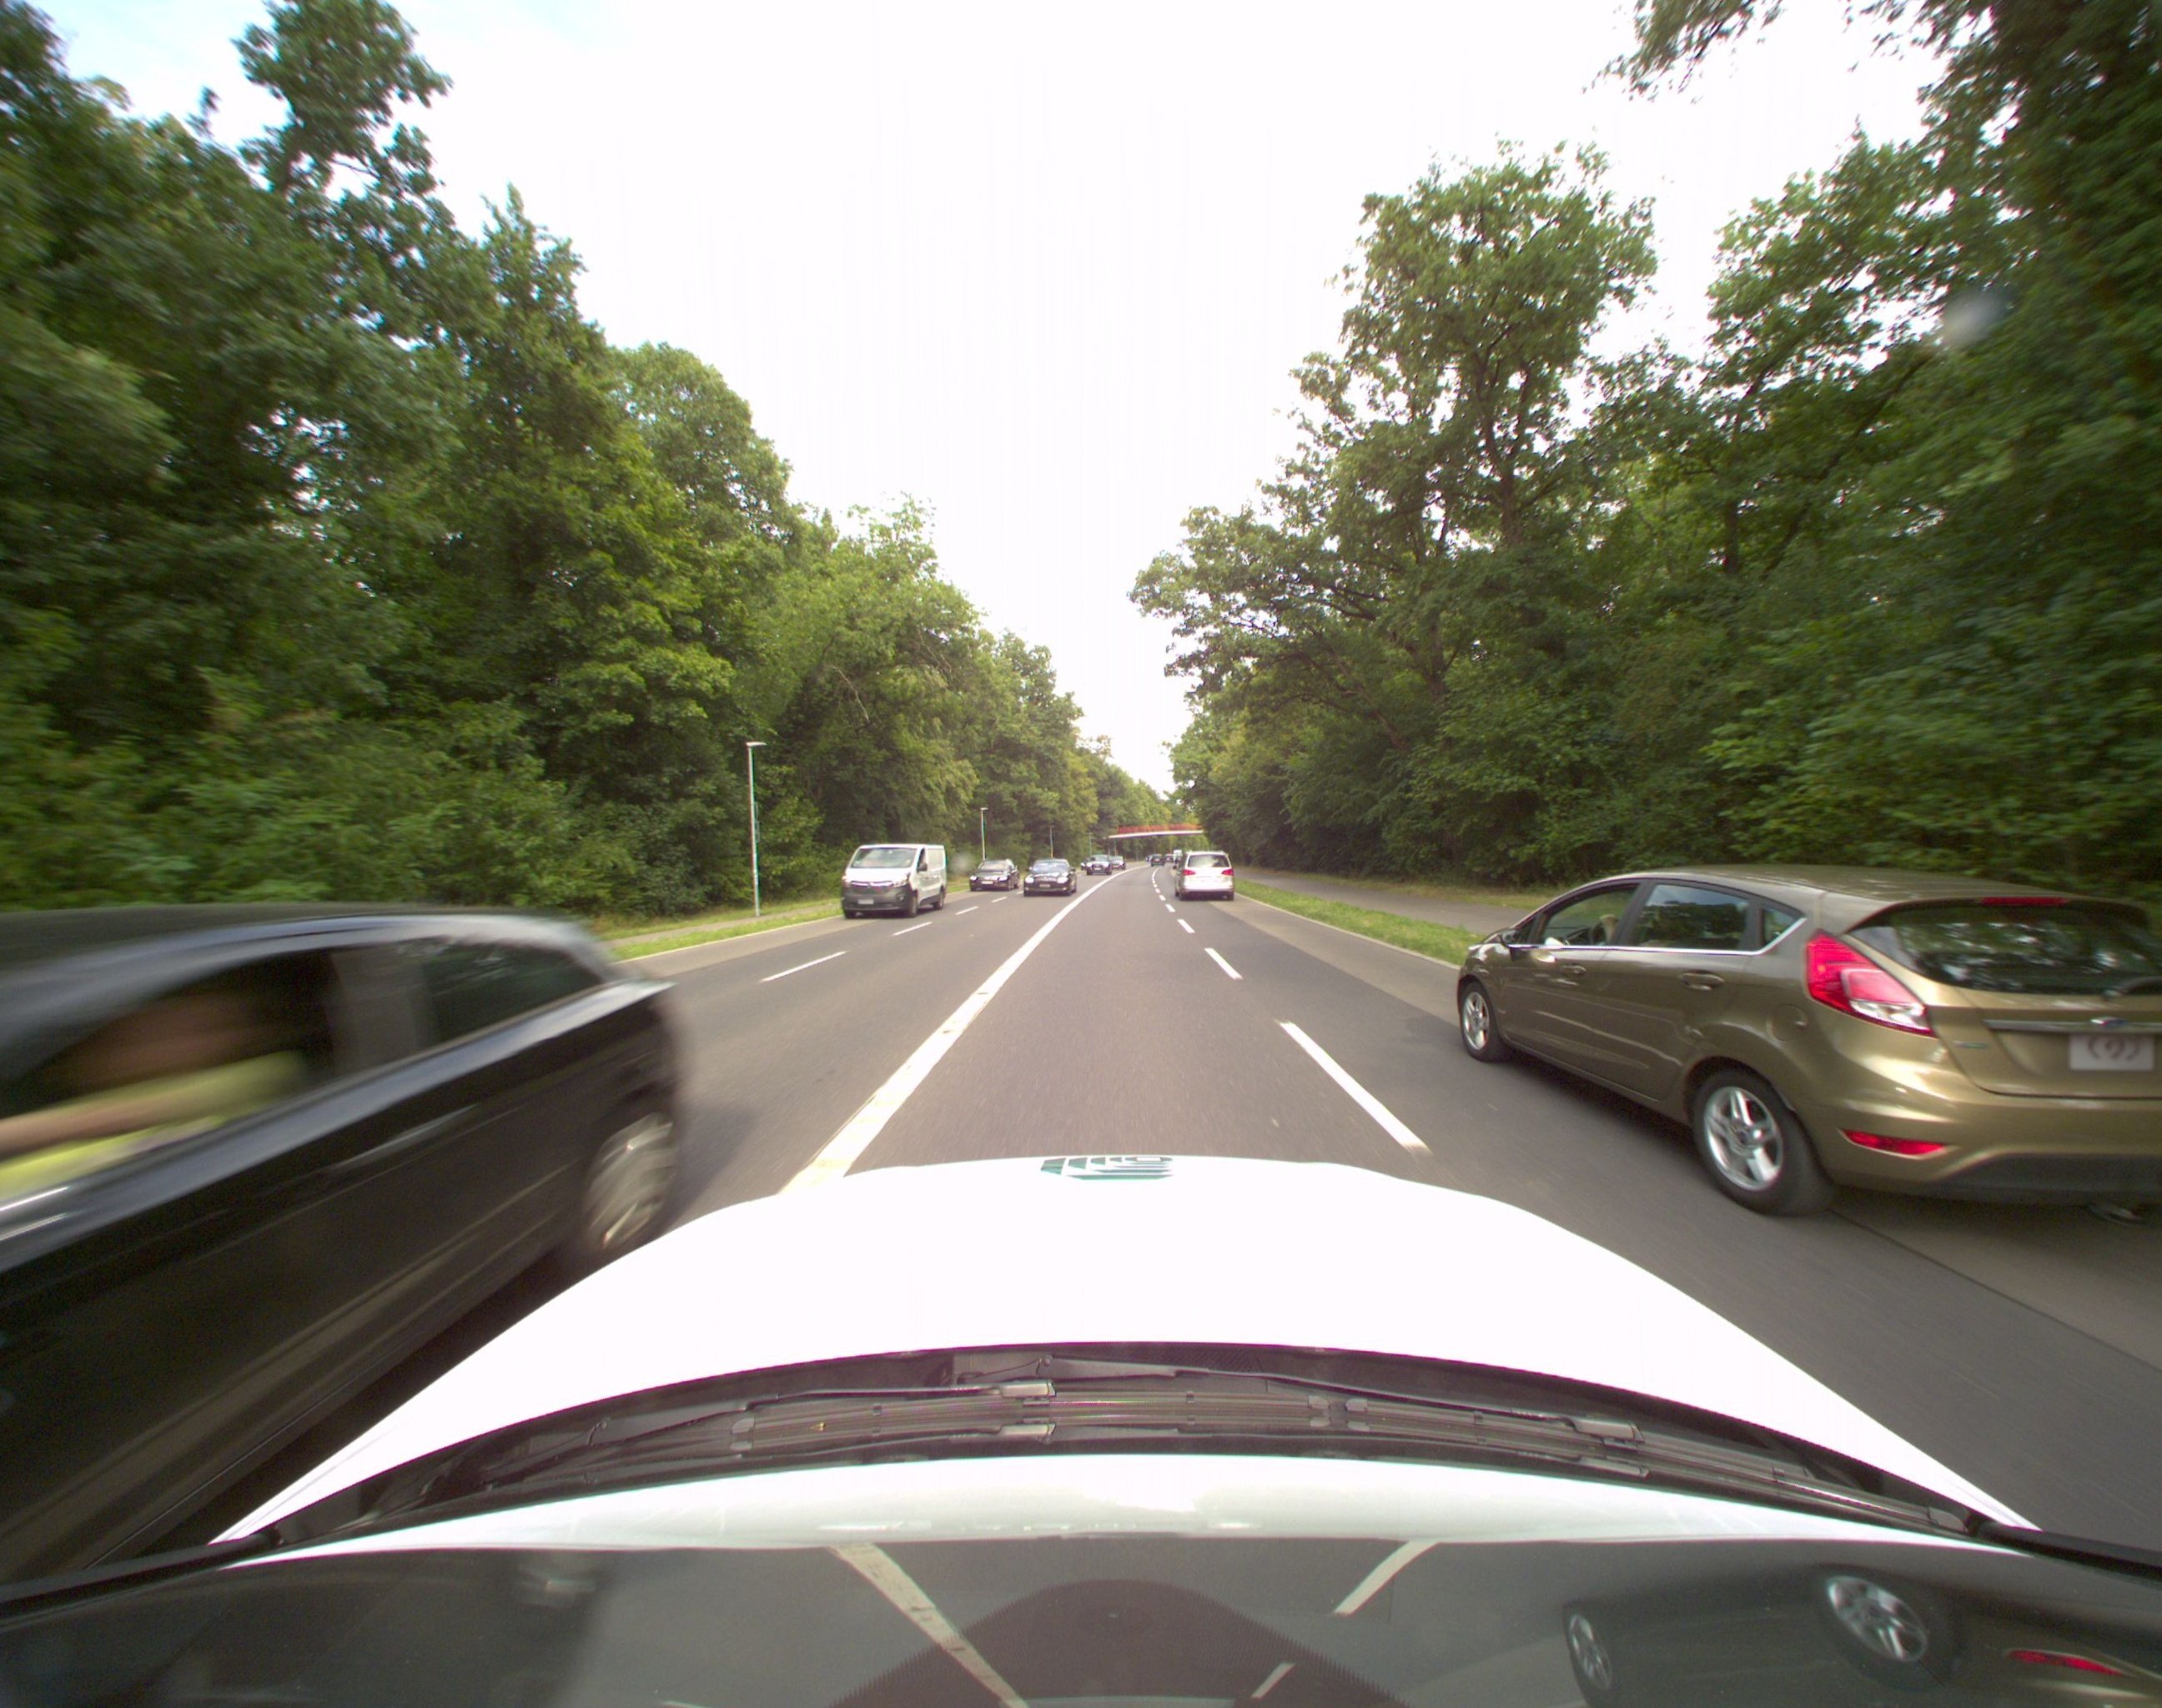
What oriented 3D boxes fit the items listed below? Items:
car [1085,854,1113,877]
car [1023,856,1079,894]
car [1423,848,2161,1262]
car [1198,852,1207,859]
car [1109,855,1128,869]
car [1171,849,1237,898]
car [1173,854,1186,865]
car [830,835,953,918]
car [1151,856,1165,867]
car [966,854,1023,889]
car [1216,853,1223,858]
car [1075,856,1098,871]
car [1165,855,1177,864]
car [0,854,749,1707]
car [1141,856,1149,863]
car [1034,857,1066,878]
[{"bbox_3d":[1.493,0.918,66.129,1.954,1.706,4.004,-4,-1,4],"label":"car"},{"bbox_3d":[-1.136,0.804,33.306,1.877,1.478,4.522,0,0,3],"label":"car"},{"bbox_3d":[3.614,0.729,4.829,1.629,1.420,4.002,0,-1,2],"label":"car"},{"bbox_3d":[34.278,0.340,229.457,1.980,1.706,4.014,-4,-1,12],"label":"car"},{"bbox_3d":[4.105,0.832,89.259,1.689,1.386,3.834,-4,-1,6],"label":"car"},{"bbox_3d":[4.275,0.684,28.840,1.985,1.607,4.004,0,-1,4],"label":"car"},{"bbox_3d":[16.978,0.935,140.165,1.982,1.750,4.009,0,-1,9],"label":"car"},{"bbox_3d":[-5.150,0.604,22.936,1.985,2.014,5.057,-2,-1,3],"label":"car"},{"bbox_3d":[10.841,1.082,114.851,1.719,1.587,4.009,0,-1,8],"label":"car"},{"bbox_3d":[-4.029,0.808,38.503,1.877,1.558,4.523,-1,-1,4],"label":"car"},{"bbox_3d":[44.167,0.530,259.846,1.790,1.667,4.016,0,-1,15],"label":"car"},{"bbox_3d":[0.662,1.039,89.523,1.982,1.552,4.009,0,-1,8],"label":"car"},{"bbox_3d":[17.081,1.086,154.700,1.981,1.697,4.011,0,-1,10],"label":"car"},{"bbox_3d":[-2.501,0.749,2.029,1.650,1.486,3.867,1,-1,1],"label":"car"},{"bbox_3d":[14.175,1.246,181.276,1.732,1.596,4.005,0,-1,5],"label":"car"},{"bbox_3d":[-2.227,0.928,59.278,1.806,1.420,4.524,-1,0,4],"label":"car"}]
